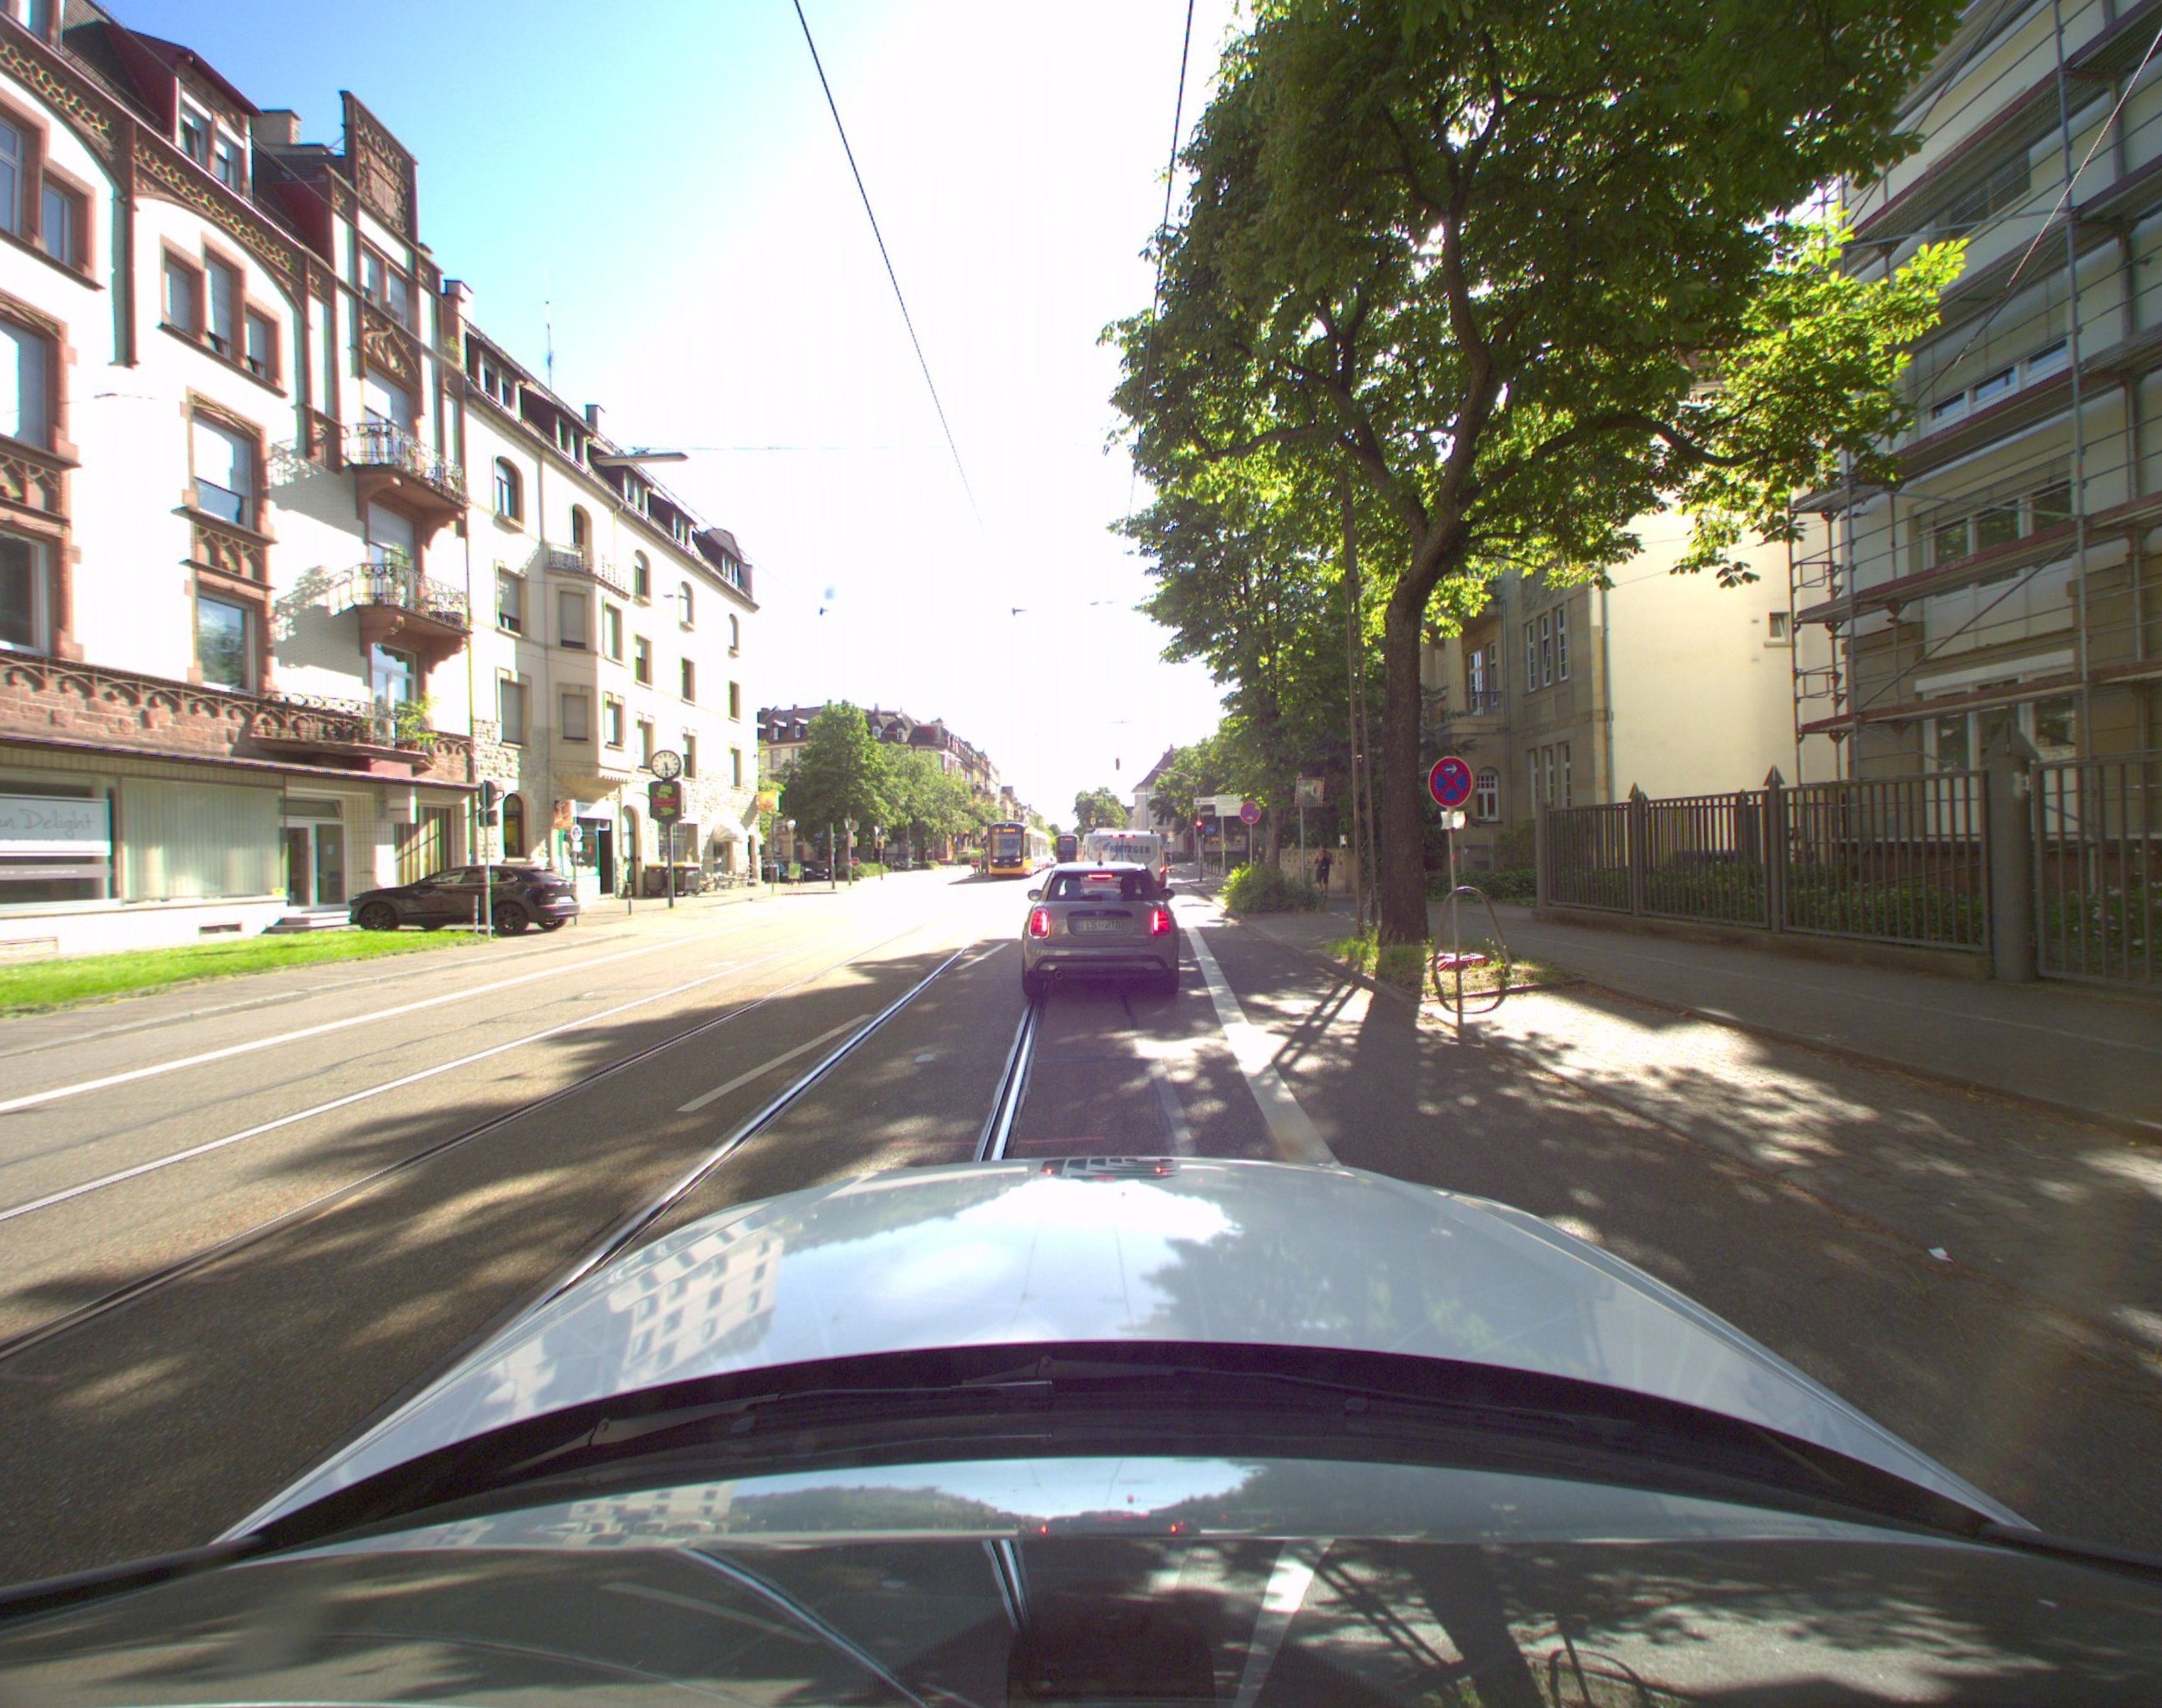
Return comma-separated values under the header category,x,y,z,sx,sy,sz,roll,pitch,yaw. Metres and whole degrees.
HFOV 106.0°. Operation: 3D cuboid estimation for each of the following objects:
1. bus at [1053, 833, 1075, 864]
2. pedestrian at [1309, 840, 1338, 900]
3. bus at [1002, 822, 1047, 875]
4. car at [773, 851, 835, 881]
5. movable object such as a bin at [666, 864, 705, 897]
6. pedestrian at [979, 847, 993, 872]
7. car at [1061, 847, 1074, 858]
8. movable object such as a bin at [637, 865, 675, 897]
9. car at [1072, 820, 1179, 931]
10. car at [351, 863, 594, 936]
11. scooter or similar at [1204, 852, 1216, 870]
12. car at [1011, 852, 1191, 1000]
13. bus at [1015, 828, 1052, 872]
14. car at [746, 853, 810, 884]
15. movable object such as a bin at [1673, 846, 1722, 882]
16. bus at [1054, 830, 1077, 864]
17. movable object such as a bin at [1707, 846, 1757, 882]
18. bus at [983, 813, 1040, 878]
category,x,y,z,sx,sy,sz,roll,pitch,yaw
bus,-2.037,-0.585,95.338,2.379,3.496,7.377,0,-1,-2
pedestrian,7.000,0.457,23.526,0.590,1.671,0.647,-3,-1,1
bus,-4.321,-0.363,64.549,2.851,3.777,11.179,0,0,-1
car,-19.494,0.831,57.248,3.949,2.014,2.012,-1,-1,30
movable object such as a bin,-15.950,1.051,32.854,0.941,1.273,1.145,0,-1,5
pedestrian,-6.972,0.421,59.575,0.878,1.802,0.902,0,-1,0
car,-2.064,-0.149,121.001,1.859,1.563,3.997,0,-1,-2
movable object such as a bin,-16.889,1.070,32.390,0.829,1.223,1.245,0,-1,4
car,0.971,0.448,18.765,2.110,2.208,4.946,0,-1,2
car,-13.589,0.994,18.396,3.981,1.503,1.768,1,-1,-6
scooter or similar,9.316,0.495,58.761,0.673,1.310,1.329,0,-1,1
car,0.261,0.744,10.223,1.808,1.488,4.001,0,-1,2
bus,-4.294,-0.290,76.197,2.841,3.777,12.193,0,0,0
car,-20.552,0.995,55.194,3.949,2.014,2.012,-1,-1,30
movable object such as a bin,16.676,0.274,22.037,0.831,0.955,0.648,0,-1,0
bus,-1.721,-0.653,87.896,2.379,3.496,7.377,0,-1,-2
movable object such as a bin,17.540,0.267,21.959,0.831,0.955,0.648,0,-1,0
bus,-4.336,-0.455,53.174,2.851,3.777,11.494,0,0,-1
